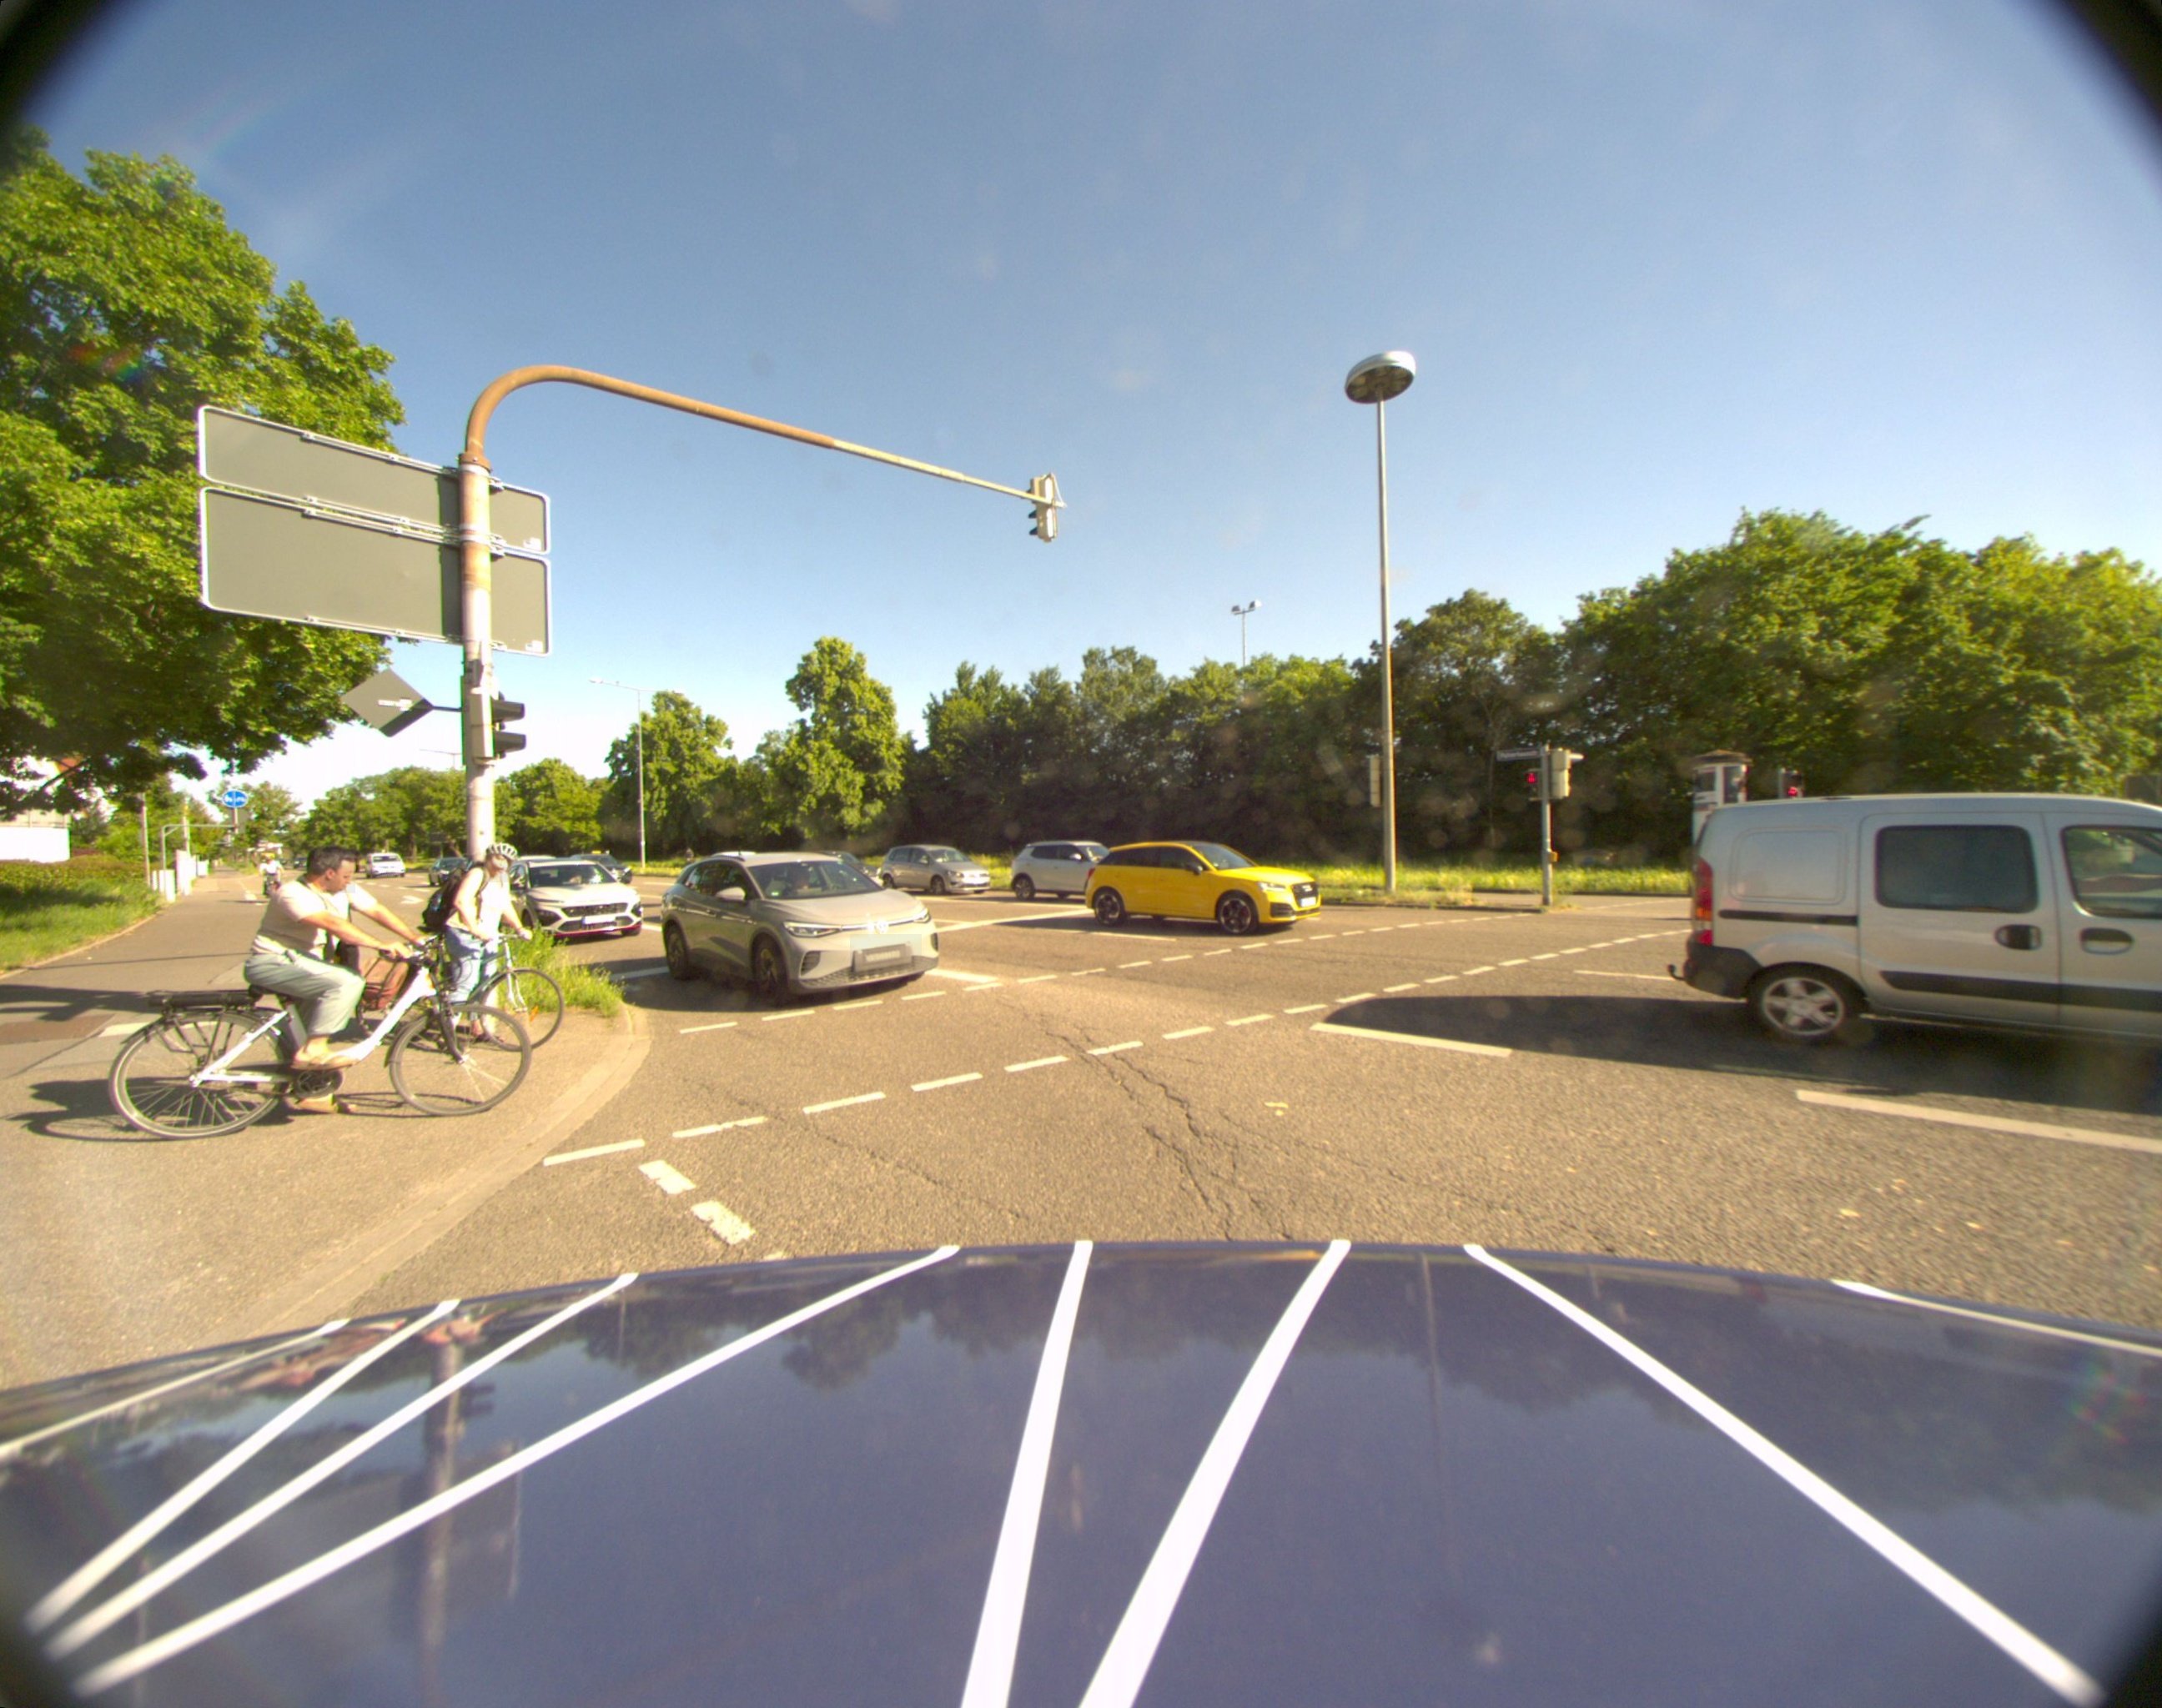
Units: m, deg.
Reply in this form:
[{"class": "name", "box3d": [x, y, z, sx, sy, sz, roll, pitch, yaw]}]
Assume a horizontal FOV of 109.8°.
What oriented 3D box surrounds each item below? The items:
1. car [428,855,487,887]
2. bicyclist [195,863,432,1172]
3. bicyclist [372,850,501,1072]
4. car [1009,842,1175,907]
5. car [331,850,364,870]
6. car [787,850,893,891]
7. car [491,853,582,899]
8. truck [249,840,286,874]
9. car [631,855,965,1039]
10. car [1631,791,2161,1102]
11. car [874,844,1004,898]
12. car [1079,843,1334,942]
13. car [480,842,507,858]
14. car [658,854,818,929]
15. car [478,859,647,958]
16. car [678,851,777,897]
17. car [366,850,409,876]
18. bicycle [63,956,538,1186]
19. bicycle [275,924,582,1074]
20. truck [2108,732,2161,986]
[{"class": "car", "box3d": [-32.591, 0.847, 39.671, 3.900, 1.432, 1.696, 0, 4, 42]}, {"class": "bicyclist", "box3d": [-4.450, 0.897, 4.464, 0.809, 1.626, 0.542, 3, 2, -26]}, {"class": "bicyclist", "box3d": [-5.136, 0.826, 6.088, 0.586, 1.687, 0.526, 2, 3, -8]}, {"class": "car", "box3d": [0.221, 0.471, 20.038, 4.182, 1.529, 1.840, 0, 1, 42]}, {"class": "car", "box3d": [-70.989, 0.529, 73.527, 3.900, 1.788, 1.845, 0, 4, 42]}, {"class": "car", "box3d": [-9.167, 0.556, 28.755, 4.342, 1.397, 1.840, 0, 2, 42]}, {"class": "car", "box3d": [-20.663, 0.780, 28.759, 4.352, 1.478, 1.924, 0, 4, 43]}, {"class": "truck", "box3d": [-78.059, 0.223, 72.869, 5.790, 3.060, 2.003, 0, 4, 41]}, {"class": "car", "box3d": [-3.663, 0.900, 9.443, 4.352, 1.631, 1.997, 0, 4, 42]}, {"class": "car", "box3d": [6.466, 0.471, 5.094, 4.352, 1.719, 1.924, 0, 4, 41]}, {"class": "car", "box3d": [-4.626, 0.490, 24.442, 4.231, 1.566, 1.883, 0, 2, 42]}, {"class": "car", "box3d": [2.070, 0.564, 13.267, 4.108, 1.432, 1.696, 0, 2, 42]}, {"class": "car", "box3d": [-78.112, -0.542, 101.048, 4.526, 2.073, 1.922, 0, 4, 42]}, {"class": "car", "box3d": [-8.371, 0.803, 18.370, 4.352, 1.478, 1.924, 0, 4, 43]}, {"class": "car", "box3d": [-10.321, 0.956, 15.015, 4.108, 1.565, 1.696, 0, 4, 42]}, {"class": "car", "box3d": [-12.556, 0.650, 26.894, 3.900, 1.432, 1.696, 0, 4, 42]}, {"class": "car", "box3d": [-51.503, 0.640, 56.413, 3.900, 1.788, 1.802, 0, 4, 42]}, {"class": "bicycle", "box3d": [-4.417, 1.188, 4.485, 1.873, 1.070, 0.530, 3, 2, -25]}, {"class": "bicycle", "box3d": [-5.160, 1.146, 6.104, 1.870, 1.070, 0.530, 2, 3, -8]}, {"class": "truck", "box3d": [12.441, 0.035, 4.788, 6.754, 2.296, 2.196, 0, 2, 41]}]
